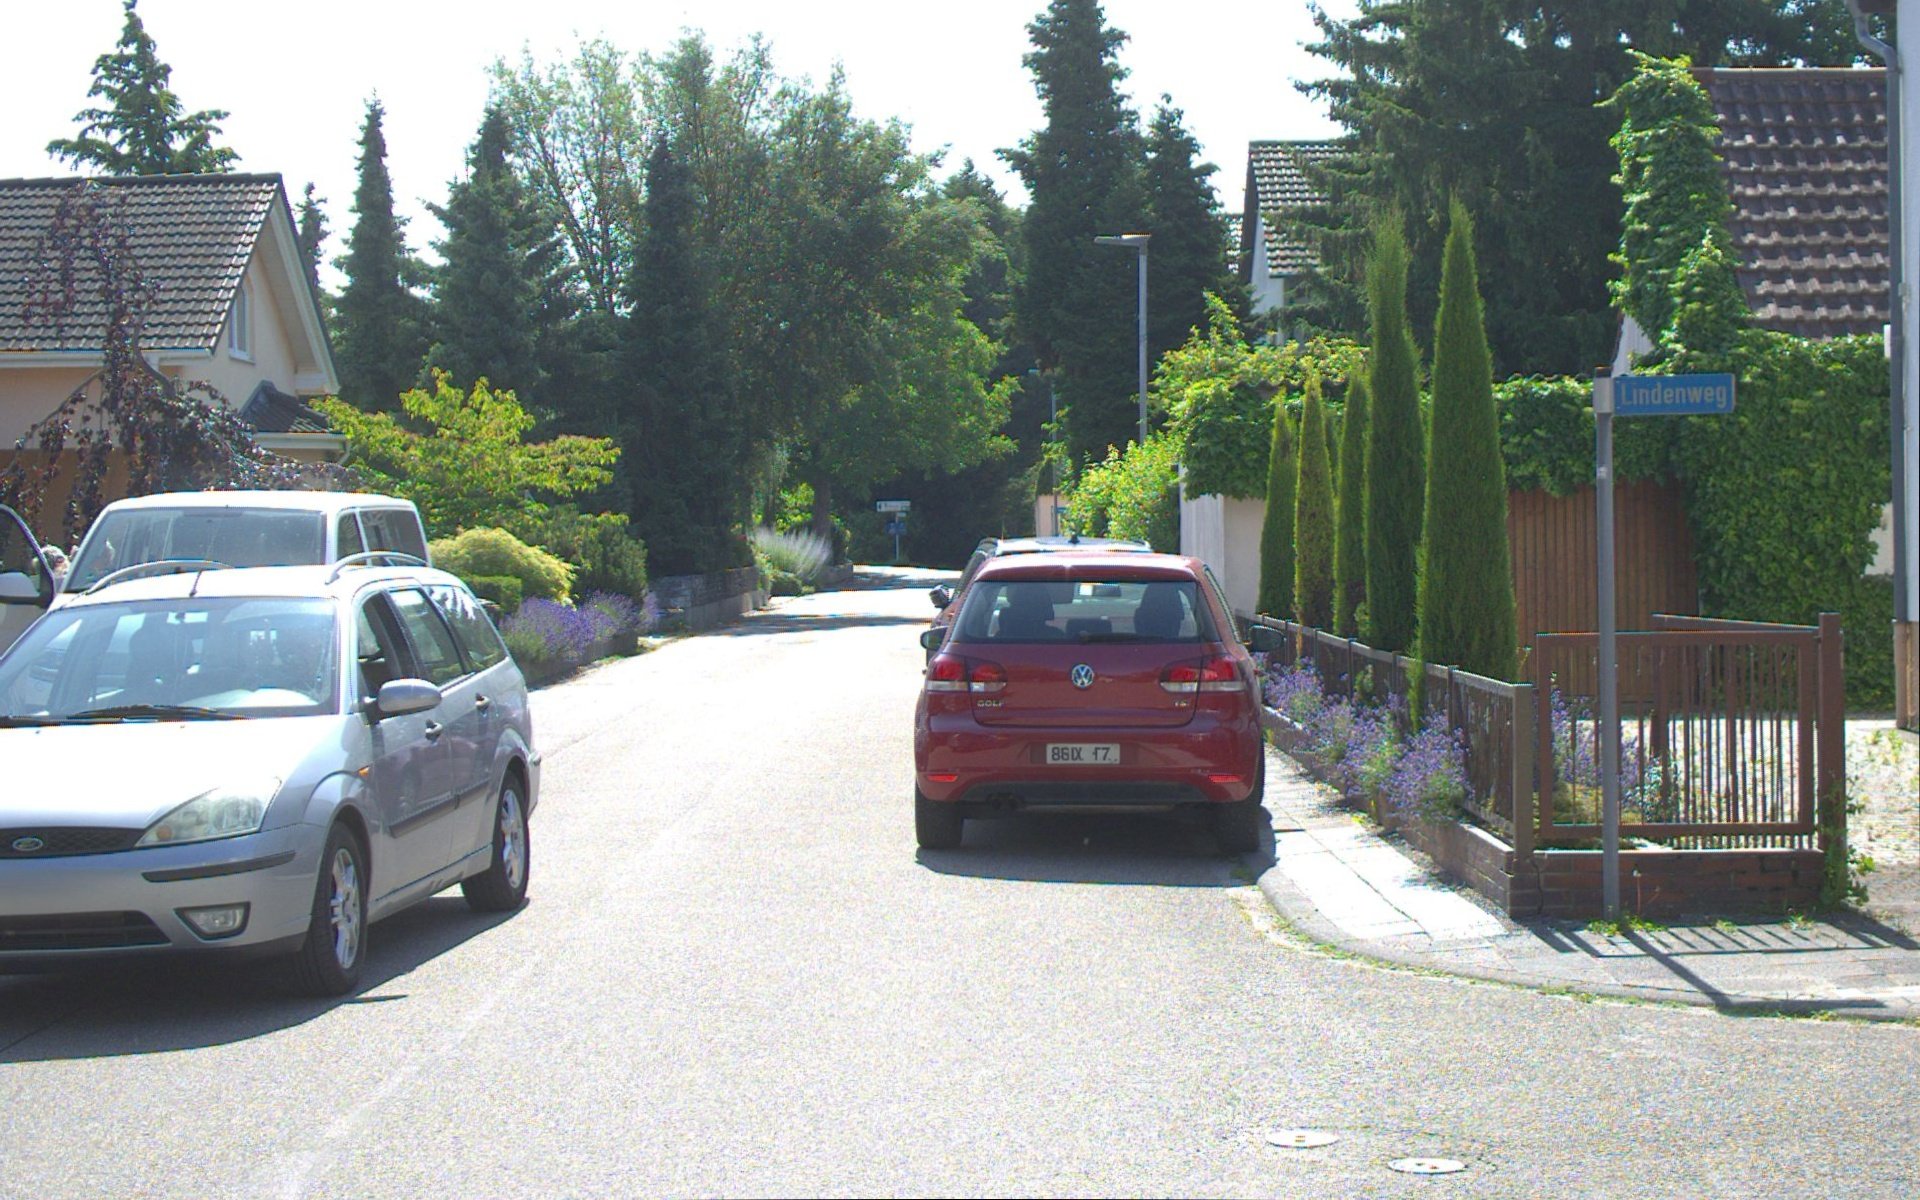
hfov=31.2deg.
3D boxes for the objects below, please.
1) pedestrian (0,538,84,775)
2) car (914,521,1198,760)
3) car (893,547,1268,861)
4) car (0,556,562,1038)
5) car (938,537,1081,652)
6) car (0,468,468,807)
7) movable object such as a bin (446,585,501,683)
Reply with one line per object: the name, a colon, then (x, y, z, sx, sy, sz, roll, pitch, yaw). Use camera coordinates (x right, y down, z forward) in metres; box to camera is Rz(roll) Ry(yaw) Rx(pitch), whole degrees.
pedestrian: (-6.307, 0.359, 22.800, 0.718, 1.533, 0.641, 1, 2, 34)
car: (0.625, 0.243, 25.282, 1.822, 1.610, 4.001, 0, 1, -2)
car: (0.706, 0.468, 18.534, 1.775, 1.474, 4.000, 1, 1, 4)
car: (-2.843, 0.626, 13.257, 1.753, 1.482, 4.375, -2, 1, 4)
car: (0.592, -0.095, 43.882, 1.702, 1.395, 4.000, 0, 1, -1)
car: (-4.683, 0.185, 22.910, 1.929, 2.007, 4.896, 0, 1, 2)
movable object such as a bin: (-5.167, 0.358, 36.519, 0.494, 1.021, 0.447, -1, 1, 1)
